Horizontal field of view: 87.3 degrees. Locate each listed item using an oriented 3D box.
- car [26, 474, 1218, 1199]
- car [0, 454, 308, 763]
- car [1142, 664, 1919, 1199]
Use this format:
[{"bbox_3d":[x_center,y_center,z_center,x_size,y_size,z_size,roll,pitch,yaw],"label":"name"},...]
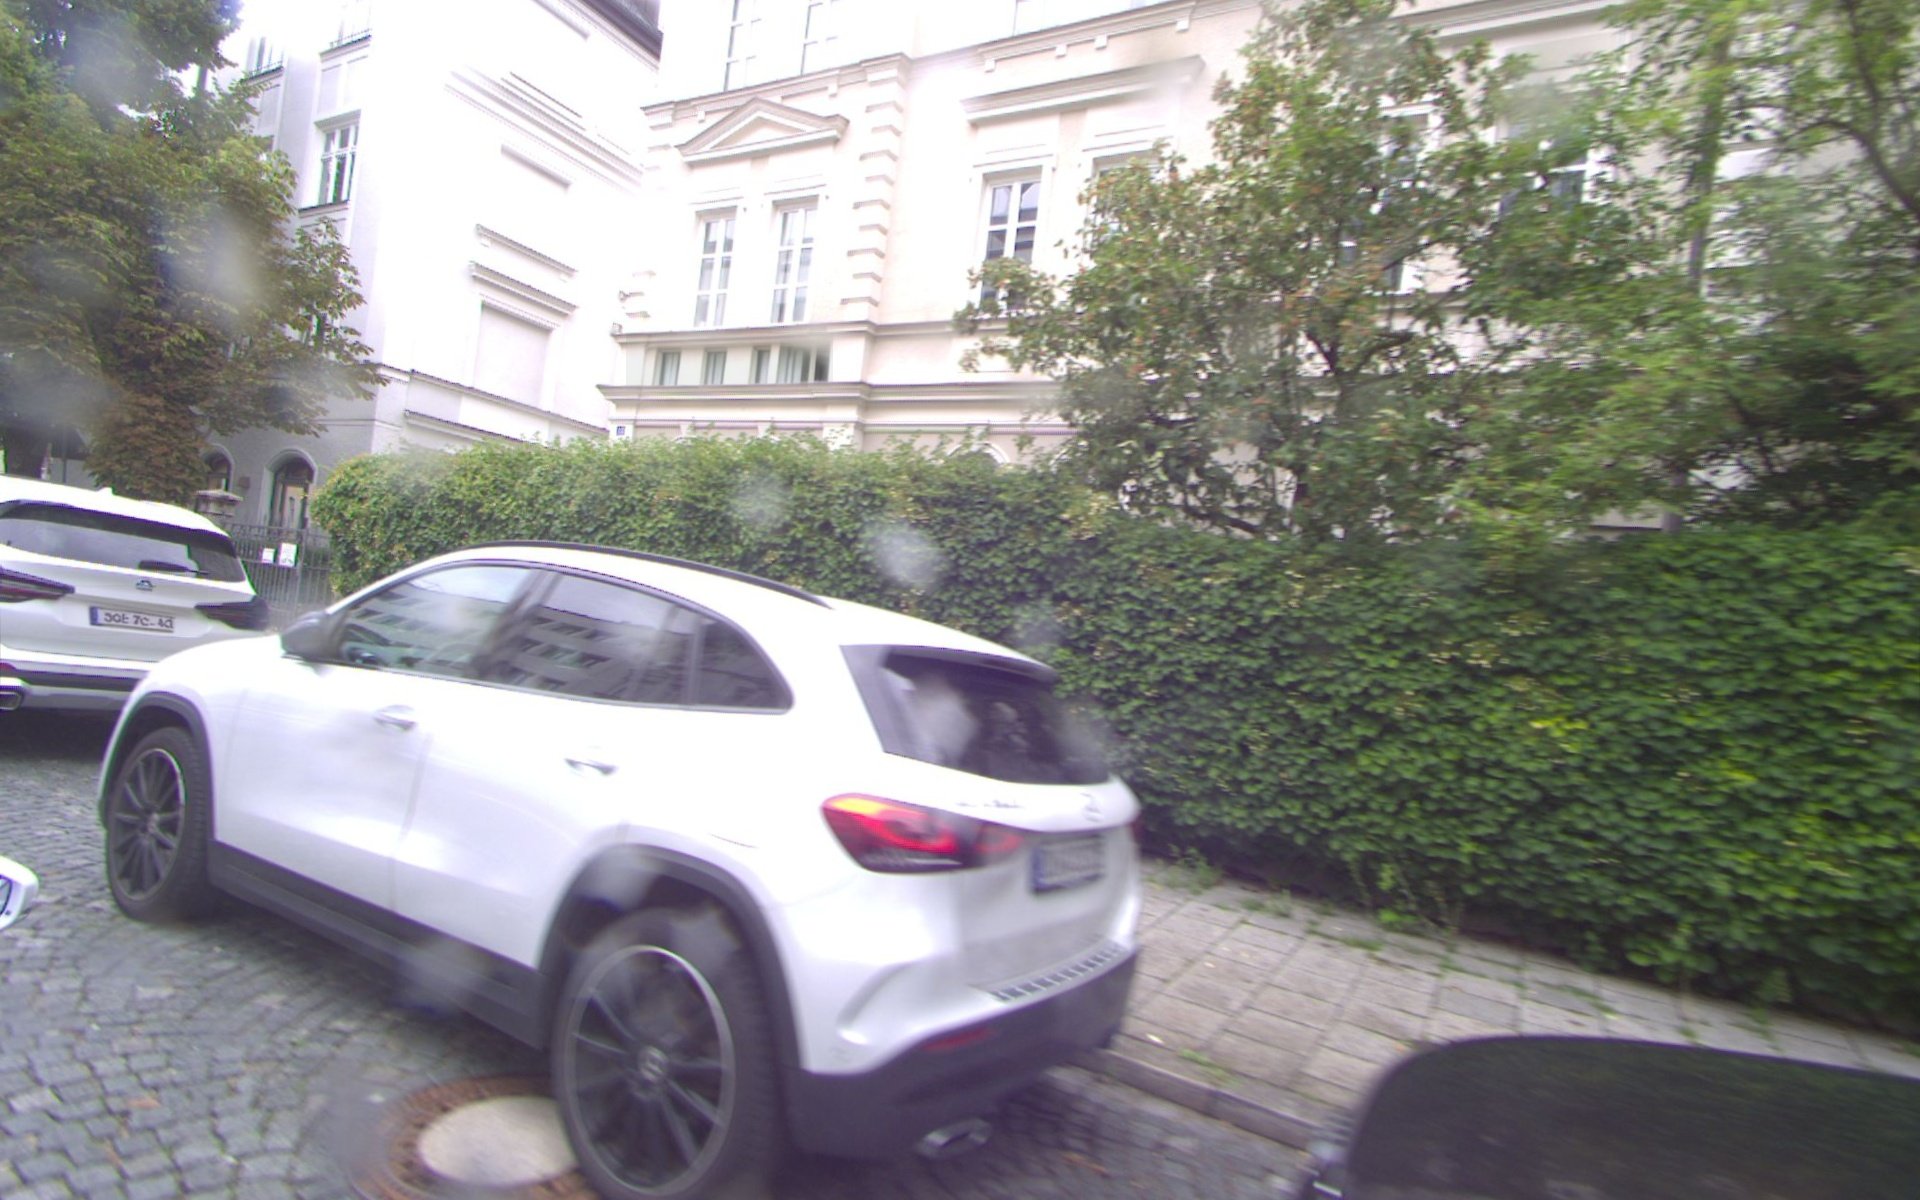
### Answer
[{"bbox_3d":[-1.504,0.564,3.867,4.397,1.618,1.751,6,-2,30],"label":"car"},{"bbox_3d":[-6.963,-0.082,7.234,4.557,1.705,1.924,6,-2,32],"label":"car"},{"bbox_3d":[2.721,1.048,0.883,4.728,1.313,1.923,6,-2,30],"label":"car"}]
